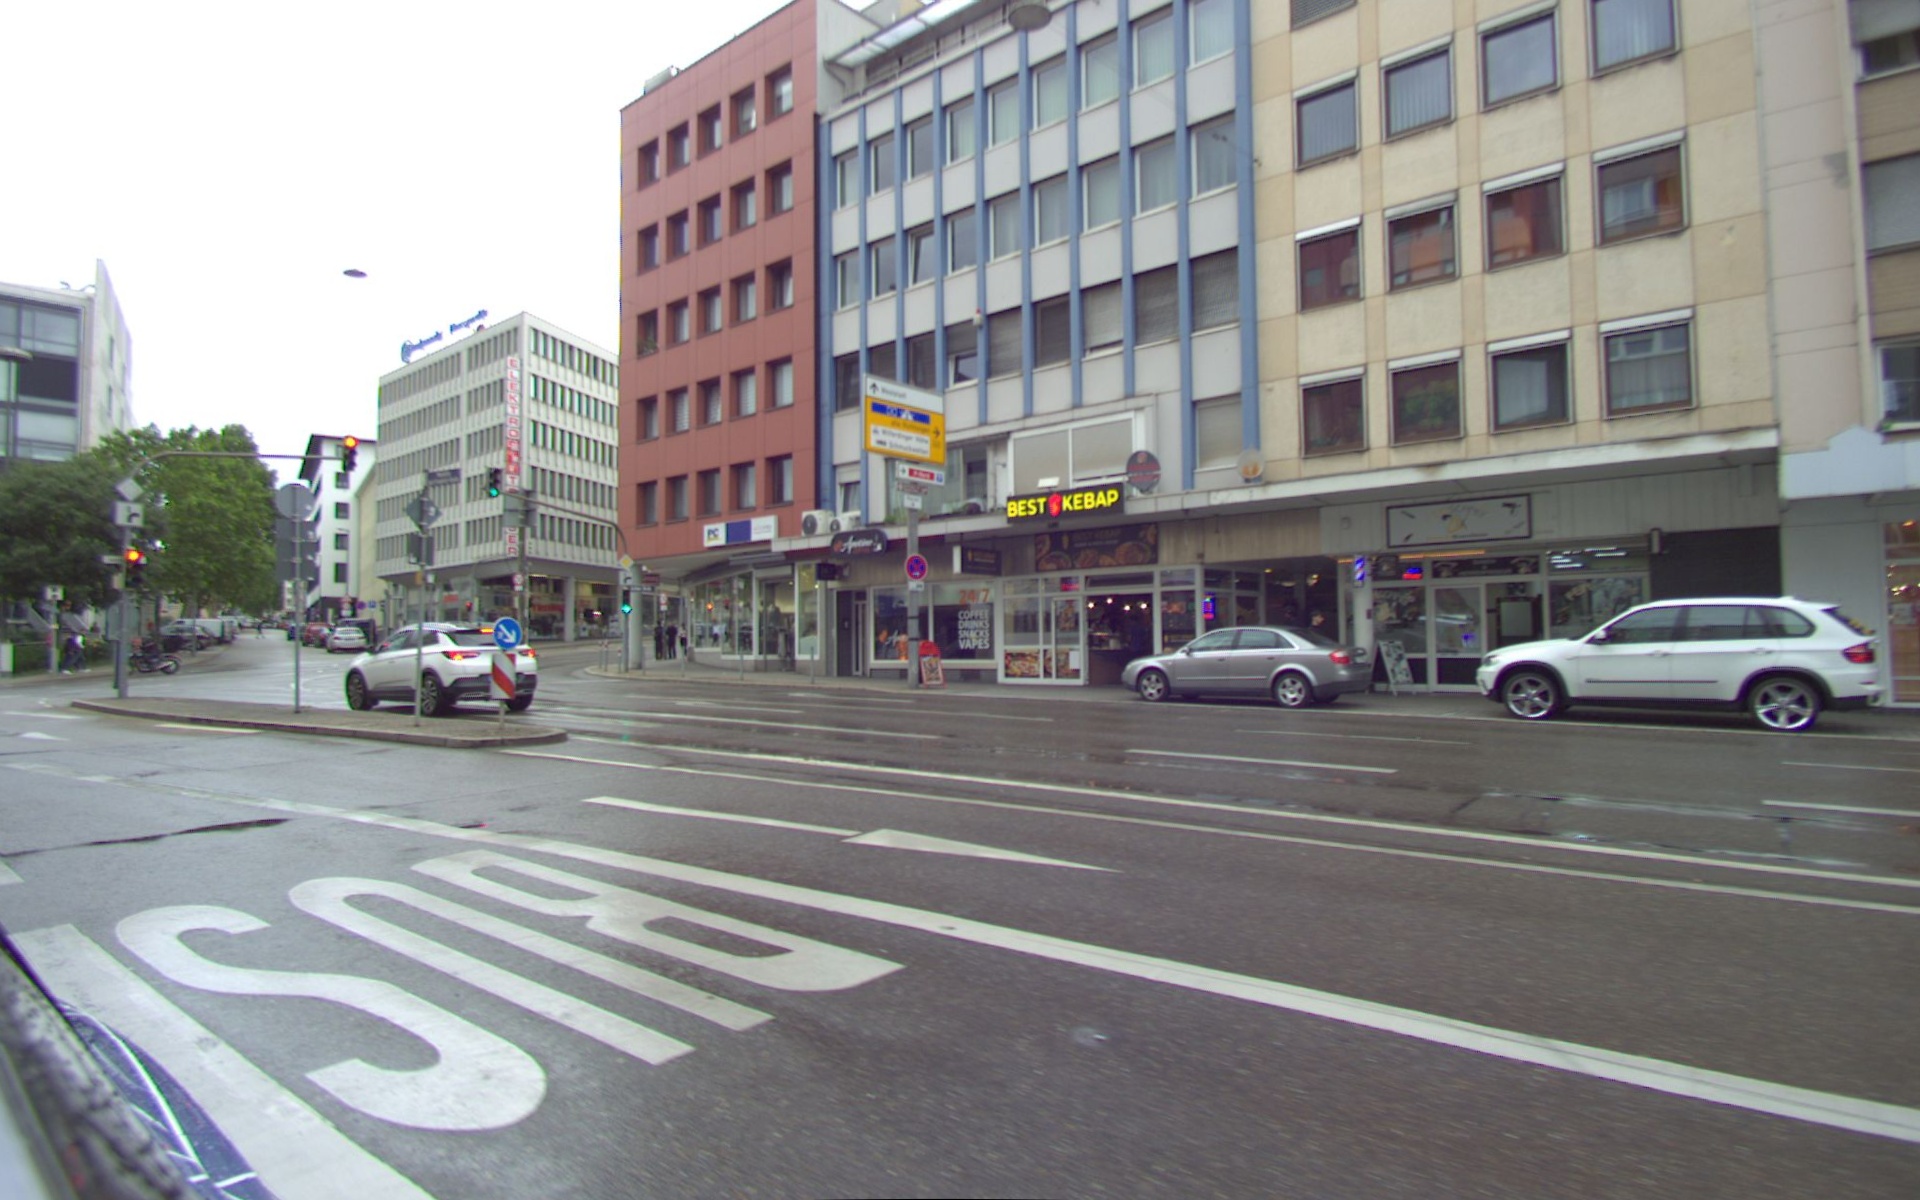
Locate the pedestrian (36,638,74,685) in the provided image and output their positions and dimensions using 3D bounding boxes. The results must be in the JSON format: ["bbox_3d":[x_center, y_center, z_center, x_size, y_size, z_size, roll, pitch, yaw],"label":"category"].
[{"bbox_3d":[-36.157,2.441,40.439,0.786,1.762,0.776,-4,2,31],"label":"pedestrian"}]

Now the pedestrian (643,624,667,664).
[{"bbox_3d":[-13.735,1.983,45.644,0.725,1.761,0.740,-3,-1,10],"label":"pedestrian"}]

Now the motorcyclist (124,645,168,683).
[{"bbox_3d":[-31.876,2.501,39.645,0.908,1.453,1.103,-2,-2,29],"label":"motorcyclist"}]

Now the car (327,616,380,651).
[{"bbox_3d":[-39.405,2.201,65.698,2.066,2.107,4.619,-1,-1,-42],"label":"car"}]

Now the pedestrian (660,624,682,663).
[{"bbox_3d":[-13.308,1.989,46.616,0.725,1.761,0.697,-3,-1,10],"label":"pedestrian"}]

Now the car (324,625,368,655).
[{"bbox_3d":[-36.785,2.422,60.543,1.970,1.643,4.626,-2,-1,-34],"label":"car"}]

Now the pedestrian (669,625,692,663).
[{"bbox_3d":[-12.586,1.969,45.508,0.687,1.642,0.730,-3,-1,13],"label":"pedestrian"}]

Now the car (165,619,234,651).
[{"bbox_3d":[-58.307,2.669,77.682,3.770,2.282,1.992,-2,0,-20],"label":"car"}]

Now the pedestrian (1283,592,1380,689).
[{"bbox_3d":[6.928,0.748,18.899,1.417,1.731,0.943,-3,-1,38],"label":"pedestrian"}]

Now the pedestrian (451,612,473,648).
[{"bbox_3d":[-28.864,1.732,58.630,0.978,2.029,0.949,0,-2,-36],"label":"pedestrian"}]

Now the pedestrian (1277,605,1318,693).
[{"bbox_3d":[6.767,0.970,20.280,0.583,1.721,0.441,-3,-2,40],"label":"pedestrian"}]

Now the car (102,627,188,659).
[{"bbox_3d":[-44.974,2.358,55.924,3.486,1.571,1.745,-2,0,-31],"label":"car"}]

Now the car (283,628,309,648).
[{"bbox_3d":[-65.321,3.773,99.530,1.994,1.855,4.054,-2,-1,-35],"label":"car"}]

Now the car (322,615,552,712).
[{"bbox_3d":[-9.804,1.164,18.864,4.418,1.563,1.976,-3,-1,35],"label":"car"}]

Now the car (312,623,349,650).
[{"bbox_3d":[-45.118,2.617,72.453,1.994,1.763,4.625,-2,-1,-35],"label":"car"}]

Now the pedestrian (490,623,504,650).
[{"bbox_3d":[-27.986,2.210,61.138,0.703,1.635,0.726,0,-2,-32],"label":"pedestrian"}]

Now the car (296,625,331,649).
[{"bbox_3d":[-49.588,2.864,77.566,1.903,1.684,4.455,-2,-1,-37],"label":"car"}]

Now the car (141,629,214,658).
[{"bbox_3d":[-48.820,2.676,63.206,3.487,1.571,1.745,-2,0,-34],"label":"car"}]

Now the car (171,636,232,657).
[{"bbox_3d":[-49.953,3.035,66.716,2.996,1.192,2.058,-2,0,-31],"label":"car"}]

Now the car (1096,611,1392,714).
[{"bbox_3d":[5.057,1.079,18.478,4.877,1.620,1.846,-2,-2,41],"label":"car"}]

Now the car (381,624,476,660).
[{"bbox_3d":[-26.807,2.091,51.153,1.985,1.696,3.974,-2,-1,19],"label":"car"}]

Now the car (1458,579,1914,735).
[{"bbox_3d":[10.003,0.747,14.342,4.960,1.841,1.830,-2,-2,41],"label":"car"}]

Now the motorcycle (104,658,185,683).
[{"bbox_3d":[-31.890,2.753,39.621,0.709,0.848,2.371,-2,-2,30],"label":"motorcycle"}]

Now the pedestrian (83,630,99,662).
[{"bbox_3d":[-50.496,2.686,58.837,0.583,1.827,0.706,-2,-2,-34],"label":"pedestrian"}]
